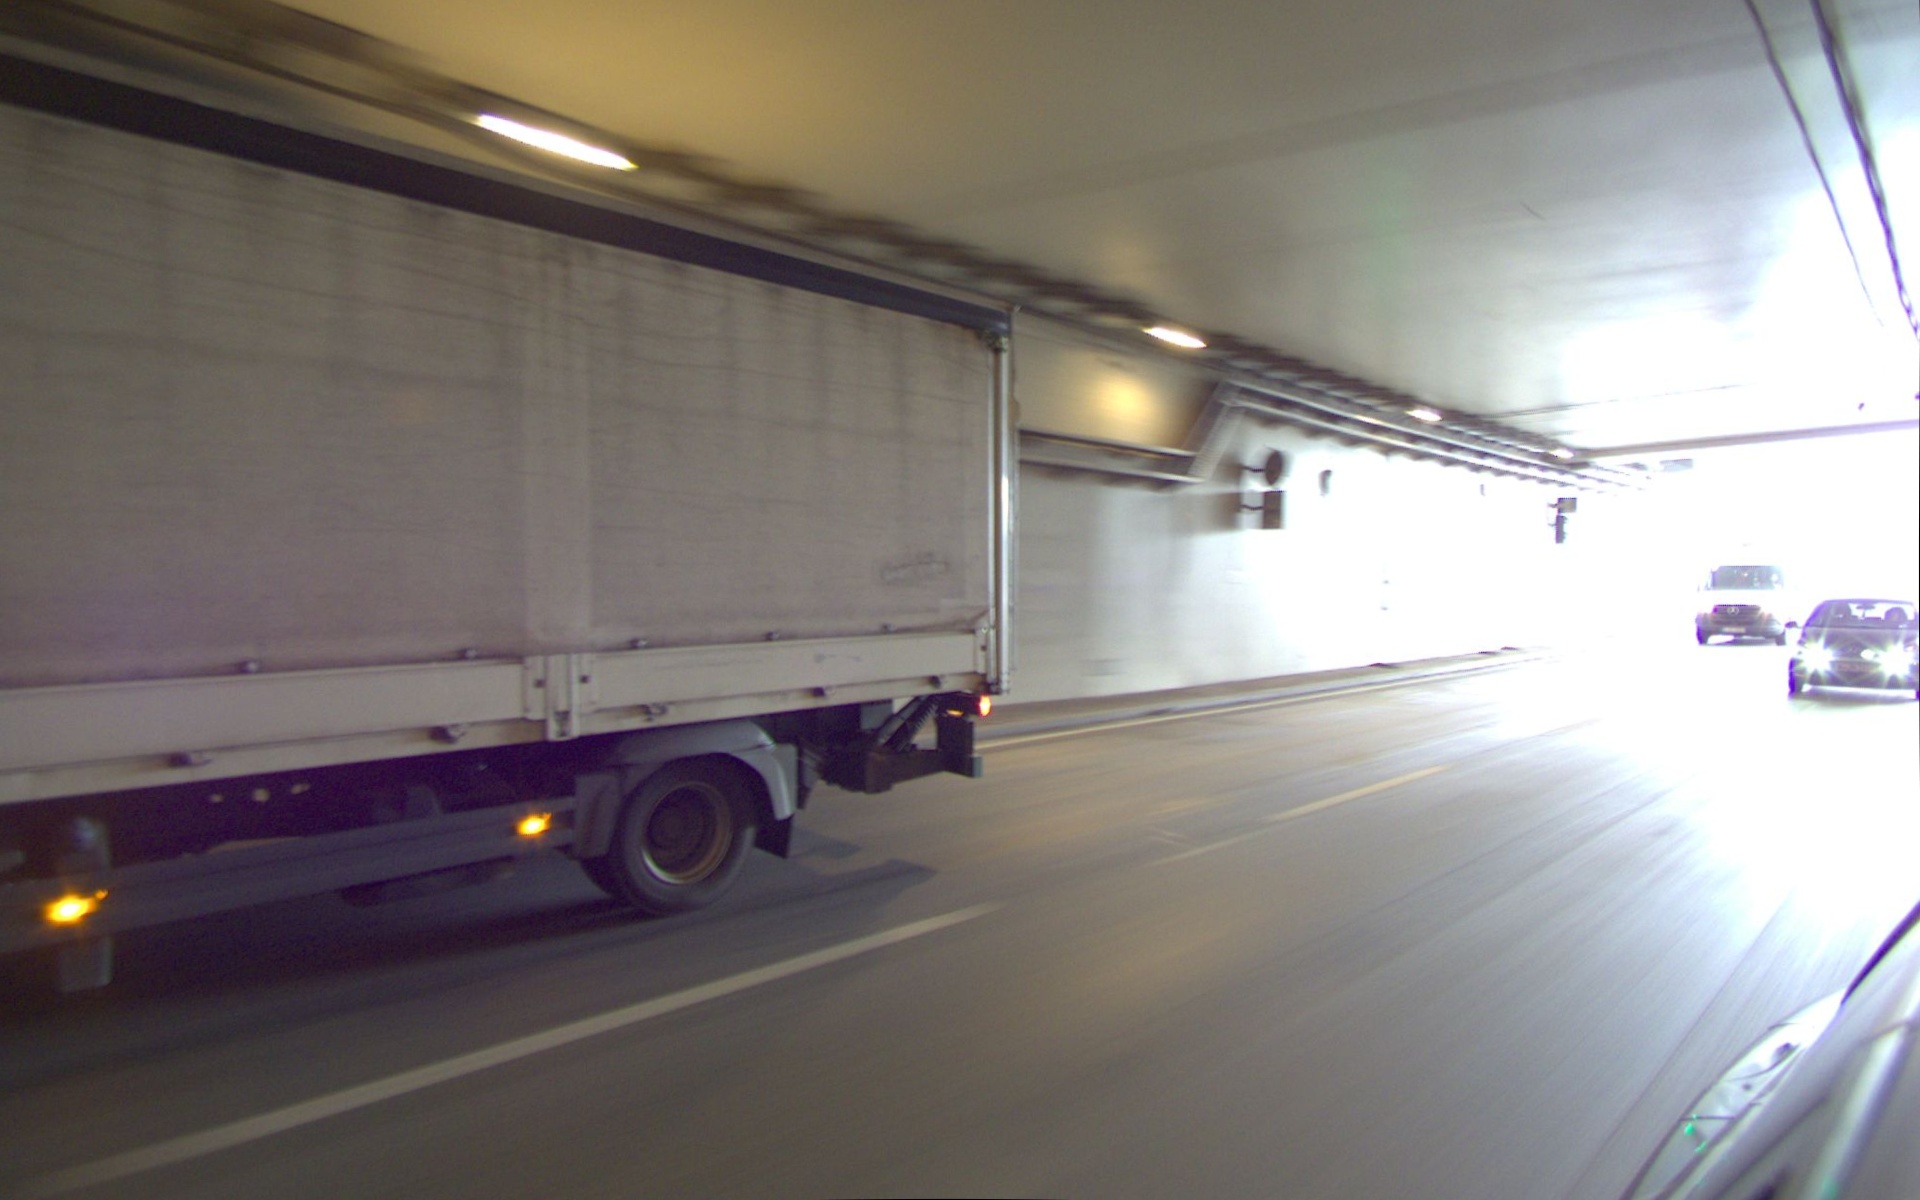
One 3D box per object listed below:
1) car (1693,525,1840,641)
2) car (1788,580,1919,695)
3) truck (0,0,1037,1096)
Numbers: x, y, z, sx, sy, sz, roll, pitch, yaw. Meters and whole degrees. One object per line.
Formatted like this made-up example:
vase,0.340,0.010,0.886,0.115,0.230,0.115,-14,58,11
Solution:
car,22.696,-0.481,28.349,6.743,2.882,2.105,0,2,-42
car,14.370,0.497,15.825,3.652,1.580,1.638,-1,1,-41
truck,-2.957,-0.209,4.470,7.127,3.221,2.555,0,0,-45
